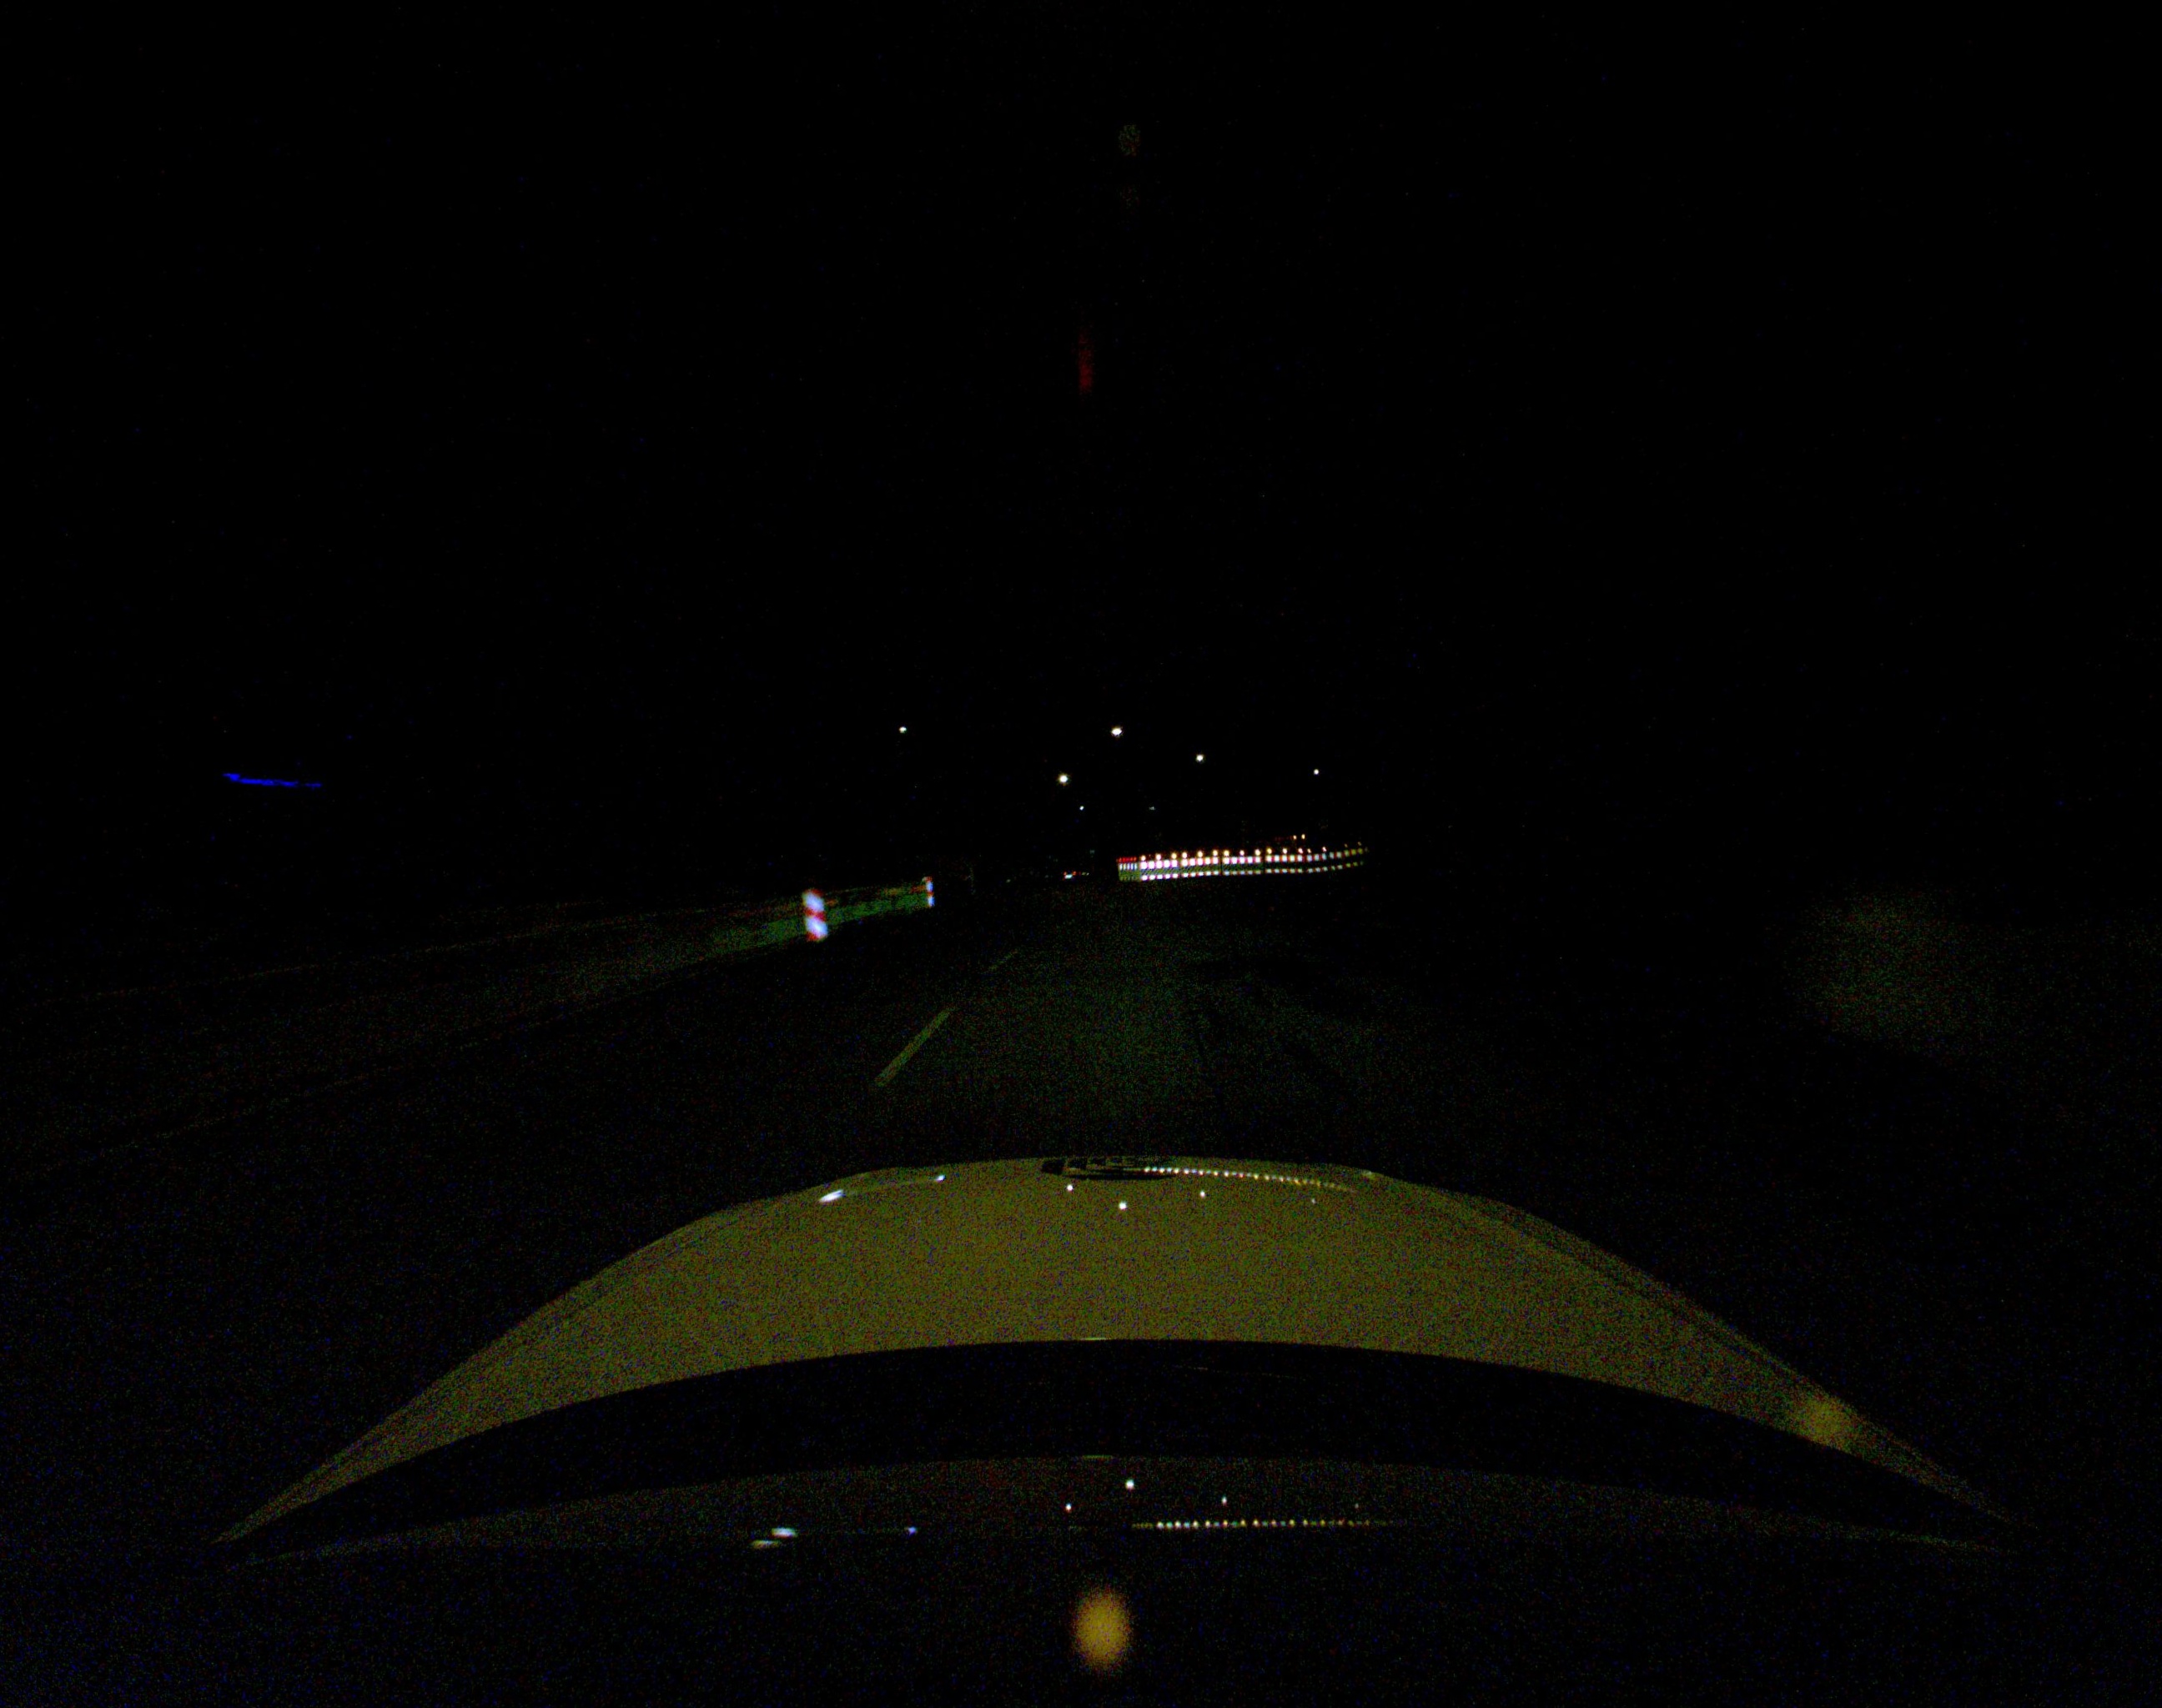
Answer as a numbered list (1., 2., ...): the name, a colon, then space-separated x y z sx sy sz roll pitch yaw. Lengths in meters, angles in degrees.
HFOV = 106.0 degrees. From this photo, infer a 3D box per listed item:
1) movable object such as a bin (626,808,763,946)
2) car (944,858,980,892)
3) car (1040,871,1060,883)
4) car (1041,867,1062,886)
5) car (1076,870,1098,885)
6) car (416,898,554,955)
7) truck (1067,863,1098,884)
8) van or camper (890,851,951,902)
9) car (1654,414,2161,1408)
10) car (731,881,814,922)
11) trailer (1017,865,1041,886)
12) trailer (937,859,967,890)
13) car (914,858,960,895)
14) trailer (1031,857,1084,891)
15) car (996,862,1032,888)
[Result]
1. movable object such as a bin: -8.796 0.486 18.886 1.570 2.733 3.691 -6 0 -8
2. car: -11.602 2.053 79.824 2.513 2.927 7.193 -5 -1 -3
3. car: -4.838 3.612 127.843 1.979 1.699 4.222 -3 -2 14
4. car: -2.669 2.106 75.028 1.715 1.661 3.998 -2 -2 -1
5. car: 0.795 2.979 103.589 1.708 1.821 4.015 -3 -2 14
6. car: -32.745 3.907 45.026 1.976 2.554 5.911 -3 0 23
7. truck: 0.337 3.447 144.252 1.976 3.404 9.028 -3 0 23
8. van or camper: -11.045 1.511 56.649 2.511 3.094 7.444 -5 -1 0
9. car: 3.739 0.122 0.668 2.101 2.516 6.373 -2 0 1
10. car: -24.616 3.728 65.364 1.976 2.842 6.717 -3 0 23
11. trailer: -7.440 3.054 116.353 1.979 2.813 4.720 -4 0 13
12. trailer: -11.504 1.838 72.763 1.988 2.527 3.566 -5 -1 -1
13. car: -11.569 1.791 66.152 2.513 2.606 7.084 -5 -1 -2
14. trailer: -1.797 1.531 60.373 1.569 2.160 5.172 -4 -2 -28
15. car: -8.967 2.789 109.952 2.502 3.171 7.162 -5 -1 12
